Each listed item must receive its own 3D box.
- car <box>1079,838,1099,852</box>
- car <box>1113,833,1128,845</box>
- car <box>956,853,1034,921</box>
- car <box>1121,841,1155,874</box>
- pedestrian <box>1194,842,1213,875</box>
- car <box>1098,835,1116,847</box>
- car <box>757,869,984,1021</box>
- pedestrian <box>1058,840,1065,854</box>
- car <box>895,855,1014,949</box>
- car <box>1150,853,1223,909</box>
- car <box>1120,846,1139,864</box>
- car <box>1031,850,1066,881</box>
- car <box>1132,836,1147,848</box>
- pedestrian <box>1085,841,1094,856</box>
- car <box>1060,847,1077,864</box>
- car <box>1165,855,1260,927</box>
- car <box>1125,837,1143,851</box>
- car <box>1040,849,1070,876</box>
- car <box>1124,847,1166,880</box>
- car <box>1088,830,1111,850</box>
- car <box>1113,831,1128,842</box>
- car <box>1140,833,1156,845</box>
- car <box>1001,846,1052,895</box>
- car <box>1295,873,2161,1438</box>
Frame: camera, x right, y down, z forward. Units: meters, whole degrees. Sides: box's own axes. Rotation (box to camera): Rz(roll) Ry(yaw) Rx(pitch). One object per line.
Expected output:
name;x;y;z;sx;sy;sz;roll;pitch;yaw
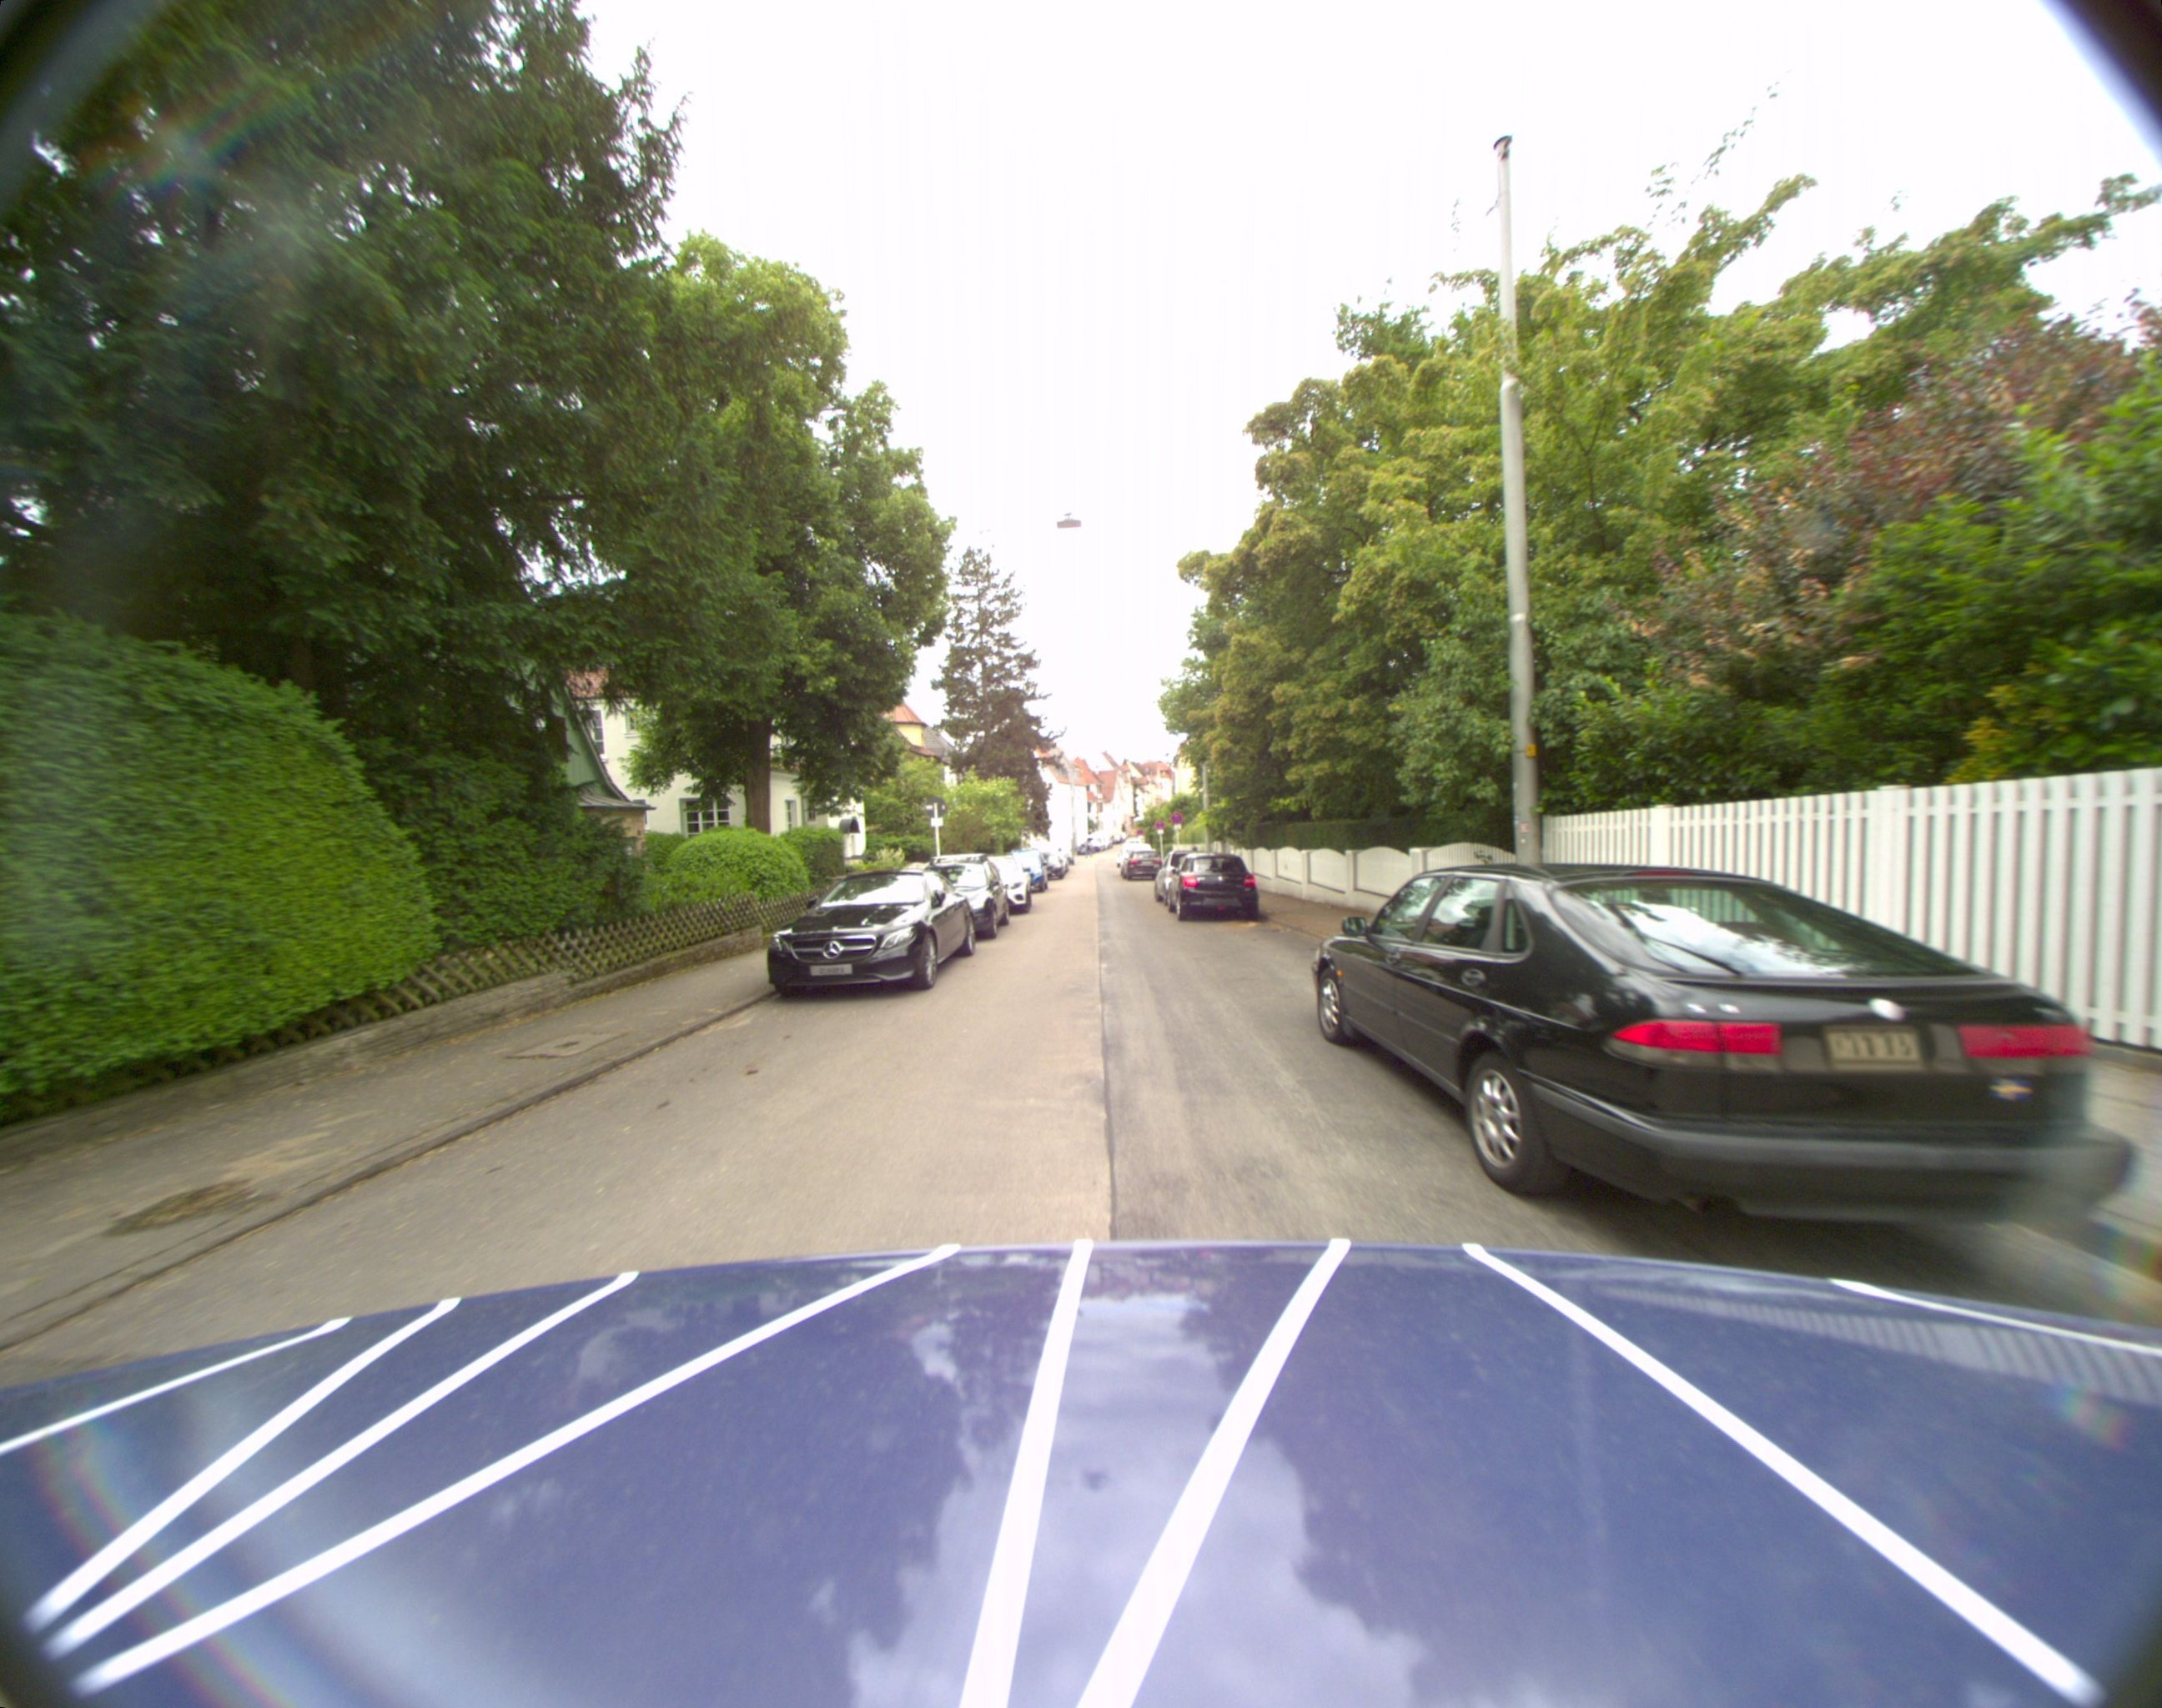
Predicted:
car;1.084;-1.192;99.527;1.821;1.478;4.287;-2;3;11
car;6.429;-2.492;123.115;1.779;1.711;4.001;-2;3;11
car;-2.307;0.836;21.490;1.762;1.597;4.573;-3;1;-2
car;3.466;0.190;46.735;1.859;1.902;4.618;0;1;1
pedestrian;5.958;0.220;36.950;0.610;1.538;0.797;-7;1;1
car;3.854;-1.890;112.020;1.827;1.437;4.384;-2;4;14
car;-2.569;1.034;10.531;1.656;1.415;4.660;-3;1;2
pedestrian;-2.384;-0.849;92.487;0.682;1.568;0.906;1;4;7
car;-2.446;0.857;15.678;1.702;1.561;4.307;-2;1;0
car;3.029;0.732;22.330;1.626;1.524;2.961;0;1;-2
car;4.207;0.058;65.937;1.445;1.543;2.771;1;1;8
car;-1.920;0.641;46.321;1.754;1.599;4.074;-4;1;1
car;8.117;-1.749;105.959;1.609;1.446;3.614;1;4;12
pedestrian;1.021;-0.669;91.051;0.822;1.750;0.644;-4;3;2
car;-1.289;0.094;75.992;1.576;1.523;2.867;-5;1;-1
car;2.978;0.774;17.877;1.659;1.472;3.888;0;0;2
car;7.158;-1.306;101.365;1.807;1.650;4.153;1;3;12
car;-1.771;0.546;52.073;1.789;1.594;4.303;-4;1;0
car;3.328;0.471;40.460;1.795;1.614;4.342;-1;1;-1
car;2.652;-2.042;106.413;1.996;2.410;5.294;-1;4;13
car;6.431;-2.848;123.015;1.607;1.482;4.023;-3;5;12
car;10.097;-2.286;114.777;1.805;1.473;4.329;-1;5;12
car;-2.252;0.655;32.195;1.686;1.818;4.156;-4;0;1
car;2.592;0.901;4.416;1.644;1.414;4.550;0;1;3
